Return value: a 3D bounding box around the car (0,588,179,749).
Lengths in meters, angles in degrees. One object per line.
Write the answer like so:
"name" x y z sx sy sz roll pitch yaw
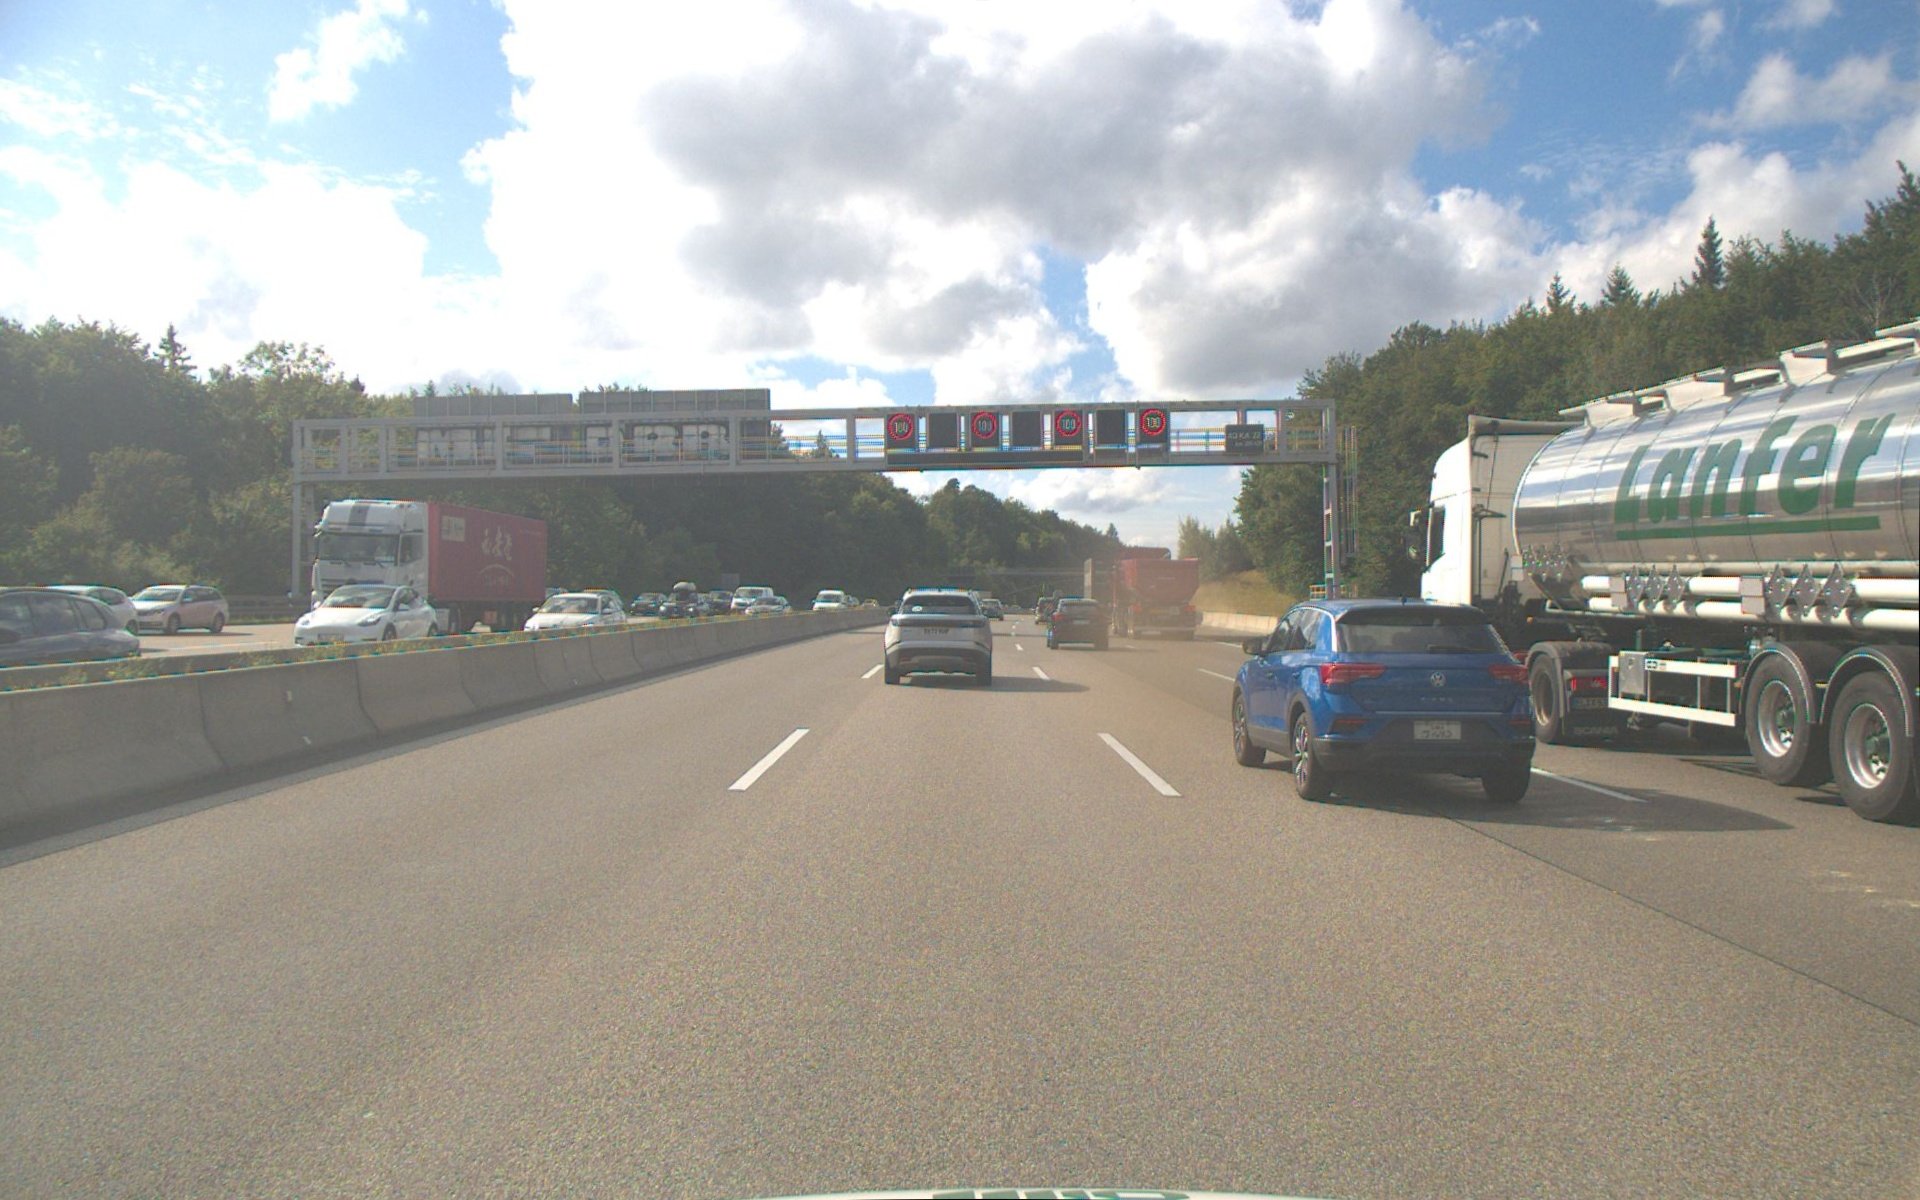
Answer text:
"car" -9.328 0.586 15.401 1.953 1.386 4.619 1 0 -1

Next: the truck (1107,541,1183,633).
"truck" 7.906 -0.541 71.293 2.654 3.783 5.818 1 0 1

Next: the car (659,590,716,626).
"car" -12.393 0.345 75.341 1.663 1.555 4.686 1 0 2

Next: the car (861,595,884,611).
"car" -9.702 0.330 183.369 1.887 1.746 4.426 1 0 6

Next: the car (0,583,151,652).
"car" -20.024 0.363 37.165 1.592 1.451 4.284 1 0 0

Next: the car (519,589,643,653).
"car" -9.335 0.493 41.126 1.733 1.467 4.852 1 0 2

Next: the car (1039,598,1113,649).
"car" 3.515 0.688 50.792 1.786 1.483 3.998 1 0 -3

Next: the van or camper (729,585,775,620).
"van or camper" -11.600 0.141 92.536 1.824 1.882 5.155 1 0 1

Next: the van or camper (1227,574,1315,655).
"van or camper" 9.560 0.420 51.163 1.785 2.348 4.938 0 0 0

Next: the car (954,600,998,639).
"car" 0.646 0.814 70.108 1.785 1.573 4.000 1 0 0

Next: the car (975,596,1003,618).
"car" 2.038 0.488 115.031 1.784 1.483 4.001 1 0 2

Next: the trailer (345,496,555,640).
"trailer" -16.601 -0.937 55.231 2.683 4.178 13.417 1 0 0

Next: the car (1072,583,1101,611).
"car" 9.018 -0.219 117.992 1.854 1.889 4.101 1 0 2

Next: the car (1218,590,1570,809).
"car" 3.462 0.739 14.083 1.737 1.557 4.456 1 -1 -1

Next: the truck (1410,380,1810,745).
"truck" 7.778 -0.414 20.720 2.595 3.890 6.081 0 0 0

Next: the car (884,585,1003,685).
"car" -0.340 0.582 30.496 1.965 1.644 5.299 1 0 -1

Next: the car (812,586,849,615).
"car" -7.639 0.015 97.825 1.733 1.678 4.520 1 0 1

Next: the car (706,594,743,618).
"car" -14.558 0.351 102.560 1.604 1.440 4.001 1 0 1

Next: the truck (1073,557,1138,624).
"truck" 9.153 -0.568 105.521 3.055 4.003 10.409 1 0 -1

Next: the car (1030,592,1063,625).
"car" 5.080 0.479 97.851 1.854 1.889 4.101 1 0 2

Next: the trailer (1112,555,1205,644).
"trailer" 7.840 -0.043 66.562 2.654 3.288 9.733 1 0 1

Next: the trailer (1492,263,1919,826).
"trailer" 7.830 -0.390 14.314 2.595 3.833 11.859 0 0 0

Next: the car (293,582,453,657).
"car" -13.007 0.403 36.983 1.819 1.552 4.994 1 0 -1

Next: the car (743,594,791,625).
"car" -9.190 0.441 79.028 1.756 1.399 4.548 1 0 -1

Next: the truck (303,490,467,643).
"truck" -16.633 -0.919 48.269 2.683 4.178 5.765 1 0 0

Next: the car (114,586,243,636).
"car" -24.010 0.320 51.005 1.953 1.463 4.278 1 0 -1

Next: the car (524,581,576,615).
"car" -20.726 -0.096 83.760 1.780 1.641 4.144 0 0 -3

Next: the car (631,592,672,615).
"car" -20.275 0.216 108.857 1.666 1.466 4.708 1 0 1
